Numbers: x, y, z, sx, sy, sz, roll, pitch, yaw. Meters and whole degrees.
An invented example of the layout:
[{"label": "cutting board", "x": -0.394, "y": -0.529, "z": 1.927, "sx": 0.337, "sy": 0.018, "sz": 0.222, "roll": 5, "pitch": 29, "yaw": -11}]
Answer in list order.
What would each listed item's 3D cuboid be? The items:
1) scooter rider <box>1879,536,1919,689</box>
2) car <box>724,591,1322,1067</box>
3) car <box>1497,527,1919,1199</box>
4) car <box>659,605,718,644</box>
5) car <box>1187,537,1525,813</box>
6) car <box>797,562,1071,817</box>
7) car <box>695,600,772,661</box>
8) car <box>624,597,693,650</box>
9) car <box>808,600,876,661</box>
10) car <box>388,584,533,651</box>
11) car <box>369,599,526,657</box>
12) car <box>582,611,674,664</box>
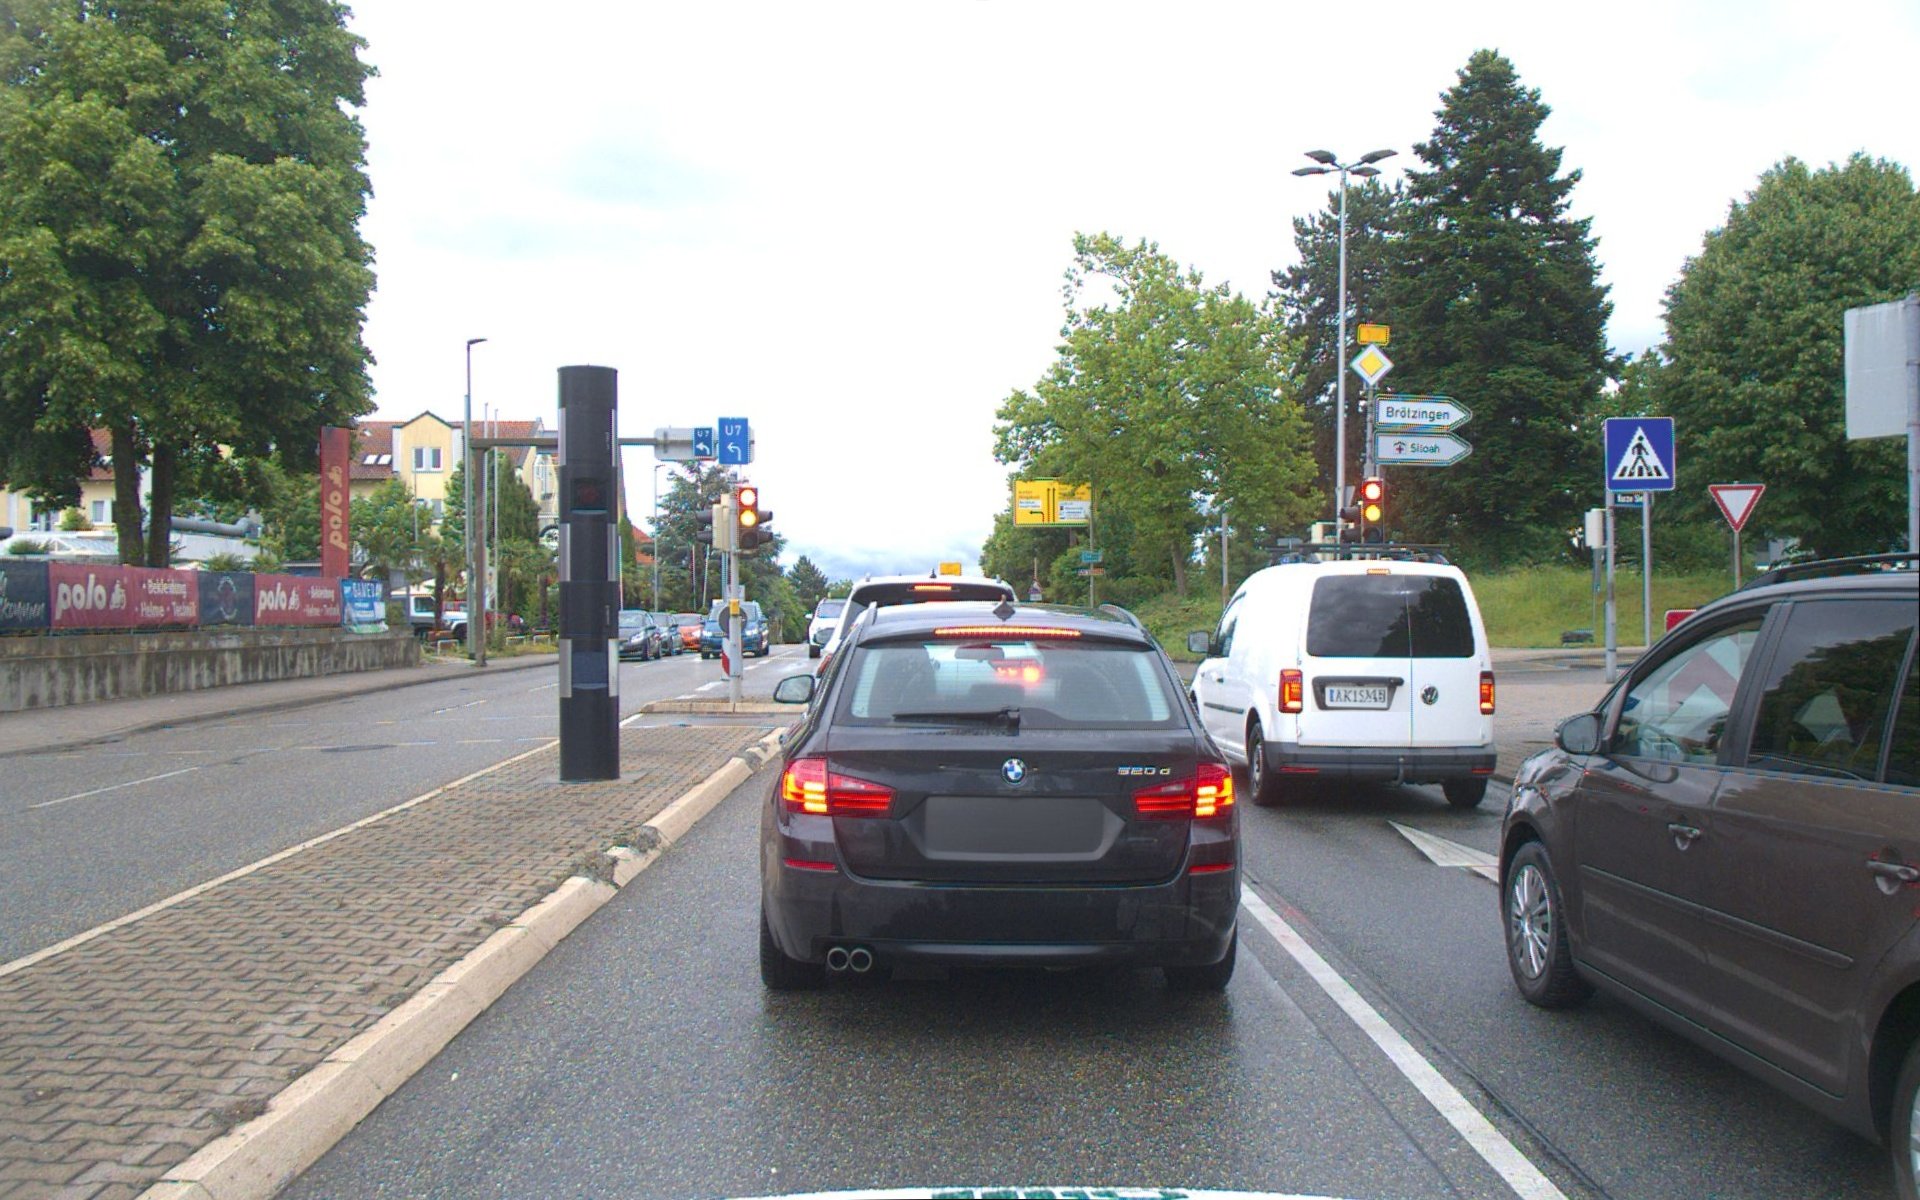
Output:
[{"label": "scooter rider", "x": 12.567, "y": 0.157, "z": 21.871, "sx": 0.490, "sy": 2.000, "sz": 0.547, "roll": -1, "pitch": 0, "yaw": -1}, {"label": "car", "x": 0.178, "y": 0.708, "z": 7.176, "sx": 1.860, "sy": 1.467, "sz": 4.000, "roll": 1, "pitch": 0, "yaw": -1}, {"label": "car", "x": 3.029, "y": 0.662, "z": 4.635, "sx": 1.711, "sy": 1.637, "sz": 3.980, "roll": 0, "pitch": 0, "yaw": -1}, {"label": "car", "x": -10.074, "y": 0.890, "z": 61.579, "sx": 1.590, "sy": 1.355, "sz": 3.945, "roll": -2, "pitch": 0, "yaw": -2}, {"label": "car", "x": 3.022, "y": 0.509, "z": 13.425, "sx": 1.729, "sy": 1.910, "sz": 3.804, "roll": 0, "pitch": 0, "yaw": -2}, {"label": "car", "x": -0.194, "y": 0.585, "z": 13.139, "sx": 1.830, "sy": 1.703, "sz": 4.000, "roll": 0, "pitch": 0, "yaw": -1}, {"label": "car", "x": -6.723, "y": 0.877, "z": 49.490, "sx": 1.802, "sy": 1.678, "sz": 4.295, "roll": -2, "pitch": 0, "yaw": -2}, {"label": "car", "x": -10.111, "y": 0.767, "z": 55.742, "sx": 1.642, "sy": 1.646, "sz": 3.999, "roll": -1, "pitch": 0, "yaw": -1}, {"label": "car", "x": -3.395, "y": 0.855, "z": 48.259, "sx": 1.802, "sy": 1.678, "sz": 4.295, "roll": -1, "pitch": 0, "yaw": -2}, {"label": "car", "x": -16.798, "y": 0.567, "z": 55.658, "sx": 4.339, "sy": 2.049, "sz": 1.980, "roll": -2, "pitch": 0, "yaw": -30}, {"label": "car", "x": -17.977, "y": 0.972, "z": 58.016, "sx": 4.943, "sy": 1.732, "sz": 1.980, "roll": -2, "pitch": -3, "yaw": -29}, {"label": "car", "x": -9.750, "y": 1.072, "z": 48.835, "sx": 1.878, "sy": 1.403, "sz": 4.125, "roll": -2, "pitch": 0, "yaw": -1}]
